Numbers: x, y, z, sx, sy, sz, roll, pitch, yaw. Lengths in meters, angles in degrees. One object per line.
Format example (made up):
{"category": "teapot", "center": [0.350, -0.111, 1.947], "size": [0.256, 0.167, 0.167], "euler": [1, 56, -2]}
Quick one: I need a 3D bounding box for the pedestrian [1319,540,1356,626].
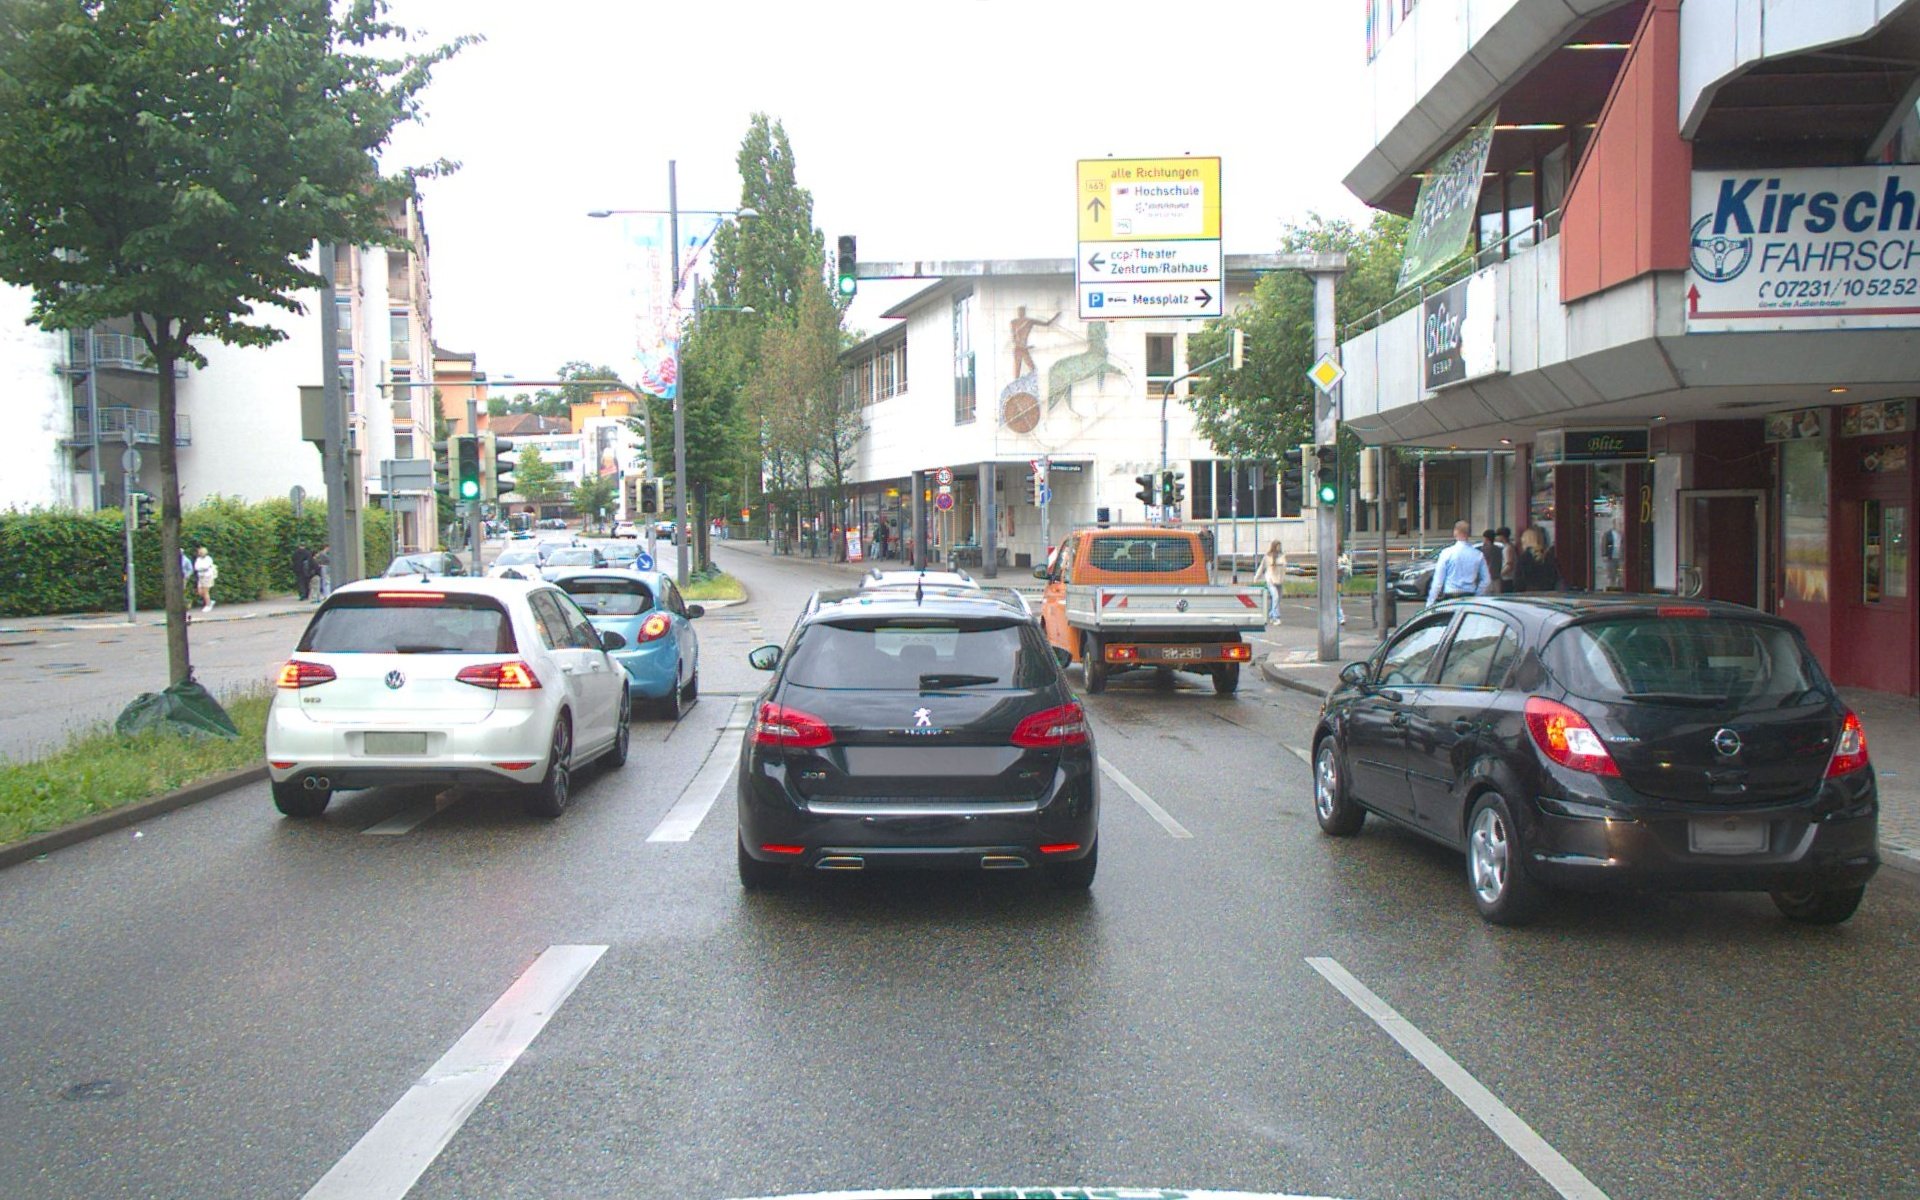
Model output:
{"category": "pedestrian", "center": [7.523, -0.329, 33.004], "size": [0.623, 1.688, 0.734], "euler": [1, -1, 6]}

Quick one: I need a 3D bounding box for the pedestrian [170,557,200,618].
{"category": "pedestrian", "center": [-20.882, -0.338, 44.561], "size": [0.569, 1.627, 0.526], "euler": [1, -1, -7]}

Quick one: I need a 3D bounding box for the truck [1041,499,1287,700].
{"category": "truck", "center": [2.391, -0.069, 20.837], "size": [2.134, 2.210, 5.017], "euler": [1, 2, -4]}

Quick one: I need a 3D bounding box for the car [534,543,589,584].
{"category": "car", "center": [-15.148, -1.399, 62.973], "size": [1.602, 1.512, 3.605], "euler": [1, 2, -7]}

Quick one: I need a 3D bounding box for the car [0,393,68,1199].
{"category": "car", "center": [-3.020, 0.447, 1.404], "size": [1.873, 1.903, 5.071], "euler": [1, -1, -2]}

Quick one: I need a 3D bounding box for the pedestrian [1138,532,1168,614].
{"category": "pedestrian", "center": [4.267, -0.586, 36.593], "size": [0.623, 1.788, 0.734], "euler": [1, -1, 6]}

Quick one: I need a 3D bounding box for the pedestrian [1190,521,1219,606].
{"category": "pedestrian", "center": [5.602, -0.826, 37.928], "size": [0.623, 1.930, 0.734], "euler": [1, -1, 6]}

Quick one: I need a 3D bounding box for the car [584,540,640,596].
{"category": "car", "center": [-11.445, -1.020, 54.568], "size": [1.713, 1.669, 3.989], "euler": [1, -1, -11]}

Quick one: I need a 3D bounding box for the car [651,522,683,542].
{"category": "car", "center": [-25.079, -5.801, 141.513], "size": [1.702, 1.516, 4.698], "euler": [1, -1, -23]}

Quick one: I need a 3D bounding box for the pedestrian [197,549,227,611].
{"category": "pedestrian", "center": [-20.171, -0.535, 44.589], "size": [0.569, 1.627, 0.526], "euler": [1, -1, -7]}

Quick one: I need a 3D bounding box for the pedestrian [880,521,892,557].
{"category": "pedestrian", "center": [-3.704, -3.053, 82.602], "size": [0.461, 1.778, 0.537], "euler": [1, -1, -21]}

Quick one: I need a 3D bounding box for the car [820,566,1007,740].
{"category": "car", "center": [-0.448, 0.438, 16.689], "size": [1.662, 1.512, 3.793], "euler": [1, 2, -1]}

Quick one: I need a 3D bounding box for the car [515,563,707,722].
{"category": "car", "center": [-3.646, 0.377, 17.791], "size": [1.601, 1.512, 3.606], "euler": [1, 2, -6]}

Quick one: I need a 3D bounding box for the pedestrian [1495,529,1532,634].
{"category": "pedestrian", "center": [8.938, -0.287, 26.711], "size": [0.388, 1.668, 0.504], "euler": [-1, -1, 0]}

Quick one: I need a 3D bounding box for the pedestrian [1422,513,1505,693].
{"category": "pedestrian", "center": [5.636, 0.036, 18.540], "size": [0.721, 1.968, 0.640], "euler": [1, -1, -1]}

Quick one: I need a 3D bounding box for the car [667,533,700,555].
{"category": "car", "center": [-20.445, -4.132, 122.106], "size": [1.759, 1.479, 4.486], "euler": [-3, 3, -17]}

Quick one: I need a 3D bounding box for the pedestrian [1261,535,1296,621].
{"category": "pedestrian", "center": [6.376, -0.434, 33.119], "size": [0.623, 1.688, 0.734], "euler": [1, -1, 6]}

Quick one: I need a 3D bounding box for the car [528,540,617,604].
{"category": "car", "center": [-10.462, -0.718, 44.907], "size": [1.710, 1.607, 3.996], "euler": [1, -1, -4]}

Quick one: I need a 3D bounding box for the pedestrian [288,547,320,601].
{"category": "pedestrian", "center": [-20.346, -0.804, 51.302], "size": [0.624, 1.671, 0.734], "euler": [1, -1, 2]}

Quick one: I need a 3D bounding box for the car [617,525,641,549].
{"category": "car", "center": [-29.174, -5.530, 145.784], "size": [1.679, 1.915, 3.980], "euler": [1, -1, -18]}

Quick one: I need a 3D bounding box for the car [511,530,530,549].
{"category": "car", "center": [-53.175, -7.318, 200.054], "size": [1.964, 2.049, 3.976], "euler": [1, -1, -20]}

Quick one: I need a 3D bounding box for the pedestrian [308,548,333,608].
{"category": "pedestrian", "center": [-19.238, -0.644, 49.761], "size": [0.529, 1.778, 0.746], "euler": [1, -1, -9]}

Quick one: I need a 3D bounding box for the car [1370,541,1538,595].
{"category": "car", "center": [12.019, -0.771, 40.423], "size": [3.610, 1.233, 1.836], "euler": [1, -1, 3]}

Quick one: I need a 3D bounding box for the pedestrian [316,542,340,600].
{"category": "pedestrian", "center": [-19.637, -0.883, 51.380], "size": [0.528, 1.778, 0.564], "euler": [1, -1, -6]}

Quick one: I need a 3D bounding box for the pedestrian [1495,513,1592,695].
{"category": "pedestrian", "center": [6.579, 0.047, 18.667], "size": [0.721, 1.968, 0.640], "euler": [-4, -1, -1]}

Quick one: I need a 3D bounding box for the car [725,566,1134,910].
{"category": "car", "center": [-0.132, 0.559, 9.016], "size": [1.741, 1.454, 3.842], "euler": [1, 1, 0]}

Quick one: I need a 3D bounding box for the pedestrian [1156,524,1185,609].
{"category": "pedestrian", "center": [4.847, -0.772, 38.078], "size": [0.623, 1.930, 0.734], "euler": [1, -1, 6]}

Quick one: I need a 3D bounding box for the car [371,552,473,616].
{"category": "car", "center": [-13.265, -0.430, 40.923], "size": [1.543, 1.512, 3.607], "euler": [1, 2, -4]}

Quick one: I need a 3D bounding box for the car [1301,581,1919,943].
{"category": "car", "center": [3.103, 0.647, 8.724], "size": [1.584, 1.454, 3.839], "euler": [1, 1, -4]}

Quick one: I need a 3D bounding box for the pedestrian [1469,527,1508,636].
{"category": "pedestrian", "center": [8.434, -0.295, 26.394], "size": [0.417, 1.712, 0.450], "euler": [-1, -1, -2]}

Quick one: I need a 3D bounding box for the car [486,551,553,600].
{"category": "car", "center": [-14.237, -0.809, 53.585], "size": [1.602, 1.512, 3.605], "euler": [1, 2, -7]}

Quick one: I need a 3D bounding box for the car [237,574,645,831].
{"category": "car", "center": [-3.337, 0.562, 11.405], "size": [1.742, 1.454, 3.840], "euler": [1, 1, -3]}
